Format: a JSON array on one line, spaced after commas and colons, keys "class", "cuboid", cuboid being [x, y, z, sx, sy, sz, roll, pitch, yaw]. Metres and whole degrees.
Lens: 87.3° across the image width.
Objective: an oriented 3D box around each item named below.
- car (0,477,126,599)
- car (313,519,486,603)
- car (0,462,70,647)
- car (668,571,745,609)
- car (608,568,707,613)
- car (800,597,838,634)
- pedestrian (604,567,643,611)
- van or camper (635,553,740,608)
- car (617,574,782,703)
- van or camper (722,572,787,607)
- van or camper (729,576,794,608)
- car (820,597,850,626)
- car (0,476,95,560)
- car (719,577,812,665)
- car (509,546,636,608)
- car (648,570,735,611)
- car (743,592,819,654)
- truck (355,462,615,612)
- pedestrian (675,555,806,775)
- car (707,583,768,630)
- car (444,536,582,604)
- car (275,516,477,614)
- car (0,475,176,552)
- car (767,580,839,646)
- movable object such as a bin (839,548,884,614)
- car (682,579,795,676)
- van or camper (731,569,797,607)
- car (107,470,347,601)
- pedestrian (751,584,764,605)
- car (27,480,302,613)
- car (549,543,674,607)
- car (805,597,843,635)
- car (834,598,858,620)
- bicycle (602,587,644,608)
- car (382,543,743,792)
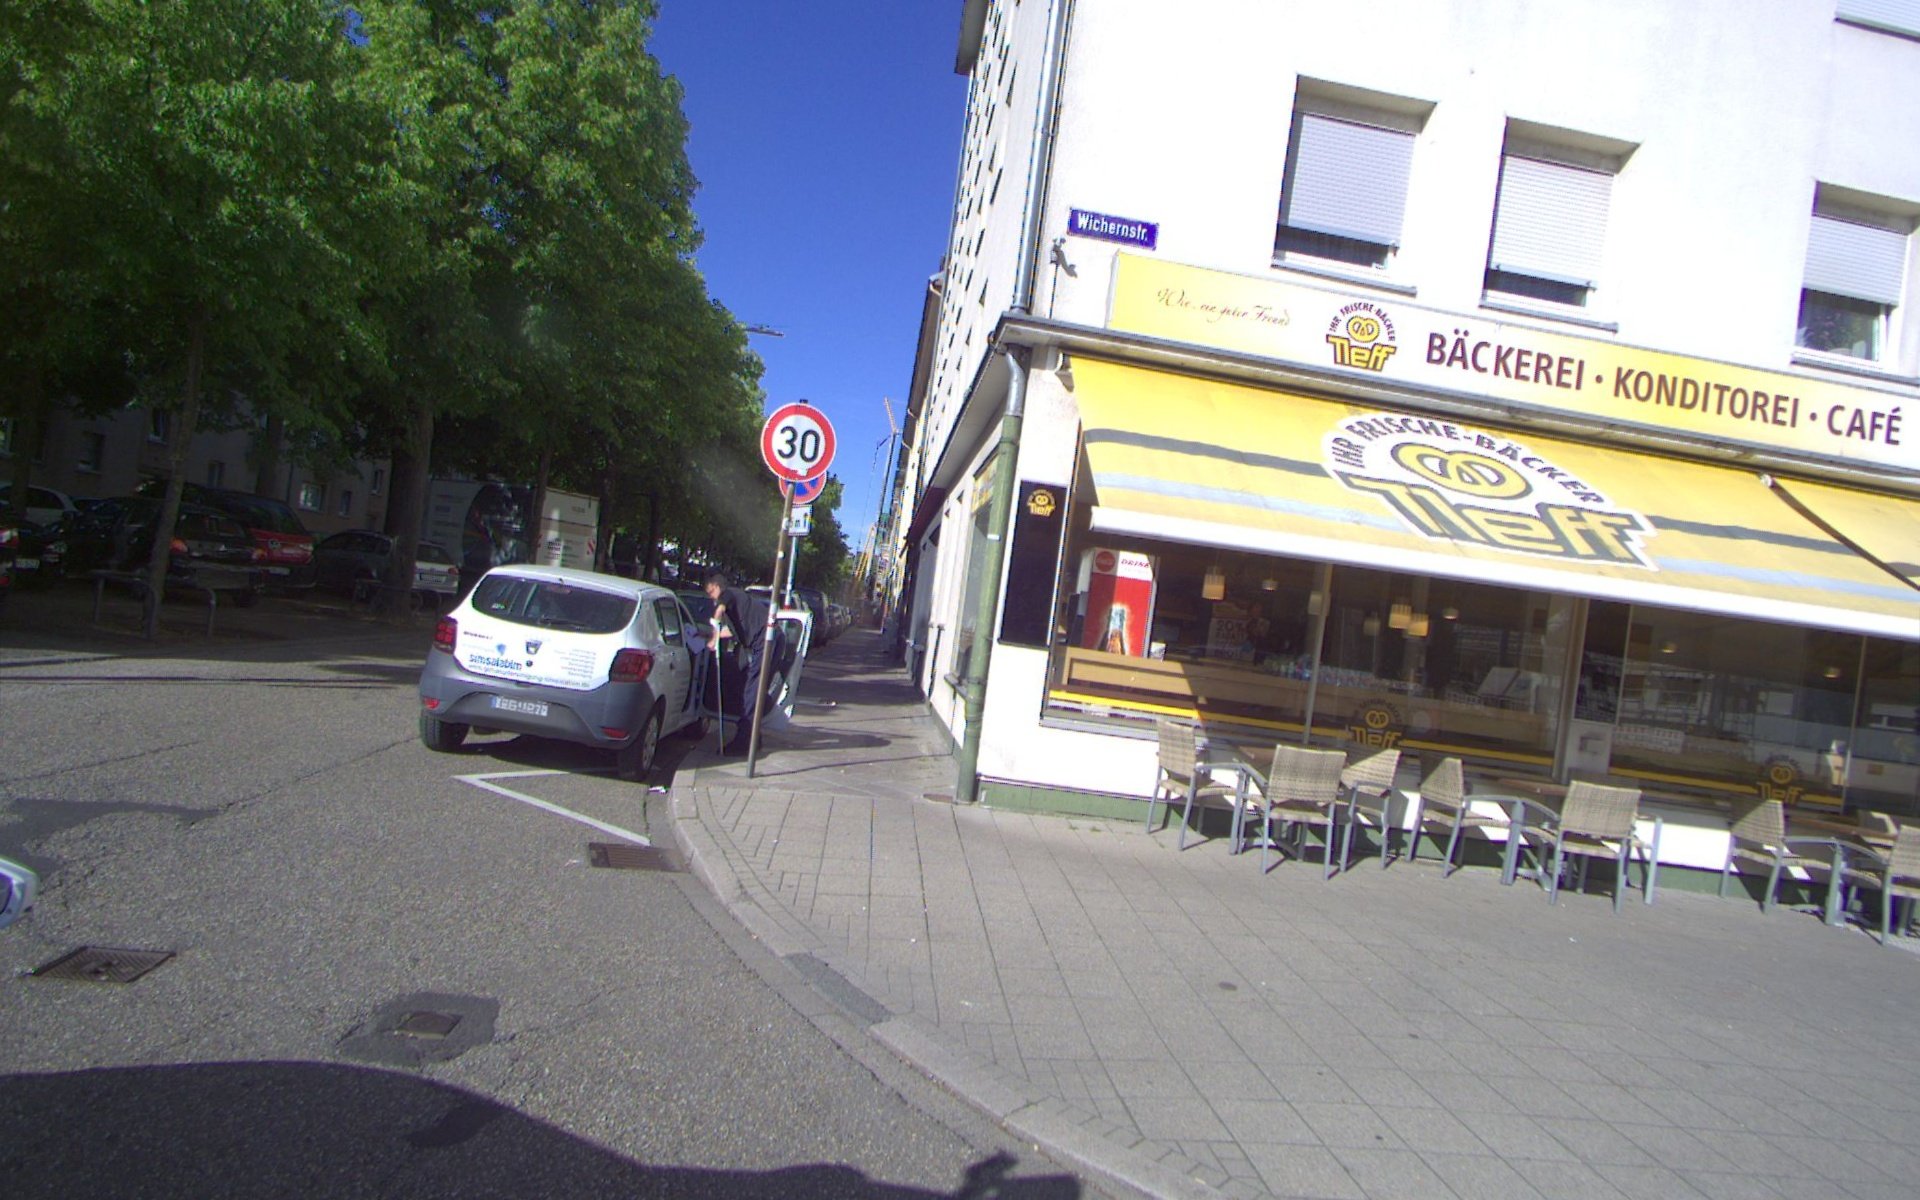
[{"class": "car", "cuboid": [-13.694, -1.042, 13.644, 3.875, 1.439, 1.822, 8, 0, 19]}, {"class": "car", "cuboid": [-14.540, -1.026, 26.038, 4.269, 1.525, 1.812, 8, 0, 29]}, {"class": "car", "cuboid": [-11.105, -0.784, 9.903, 4.259, 1.691, 1.837, 10, 1, 25]}, {"class": "car", "cuboid": [-15.226, -0.601, 60.377, 4.072, 1.699, 1.759, 8, 0, 24]}, {"class": "car", "cuboid": [-14.515, -0.472, 48.226, 4.411, 1.473, 1.786, 8, -1, 27]}, {"class": "car", "cuboid": [-6.533, 0.674, 46.545, 1.528, 1.410, 3.855, 8, -1, -9]}, {"class": "pedestrian", "cuboid": [-12.167, -0.386, 36.367, 0.740, 1.413, 0.928, 8, 0, 26]}, {"class": "van or camper", "cuboid": [-19.828, -1.418, 73.098, 7.116, 2.965, 2.314, 8, 0, 22]}, {"class": "car", "cuboid": [-3.755, 0.521, 15.084, 1.573, 1.480, 3.670, 8, -1, -4]}, {"class": "van or camper", "cuboid": [-20.127, -1.051, 98.688, 5.781, 2.669, 2.254, 8, 0, 25]}, {"class": "van or camper", "cuboid": [-18.649, -0.751, 94.561, 5.413, 2.303, 2.221, 8, 0, 19]}, {"class": "car", "cuboid": [-8.034, 0.731, 64.739, 1.698, 1.546, 4.153, 8, -1, -7]}, {"class": "car", "cuboid": [-19.075, -1.703, 19.439, 1.731, 1.504, 3.940, 8, -1, -11]}, {"class": "car", "cuboid": [-4.742, 0.485, 25.077, 1.737, 1.774, 4.505, 8, -1, -7]}, {"class": "car", "cuboid": [-13.547, -0.817, 35.105, 4.035, 1.524, 1.732, 8, -1, 27]}, {"class": "car", "cuboid": [-14.399, -0.511, 53.932, 4.346, 1.478, 1.716, 8, -1, 28]}, {"class": "car", "cuboid": [-5.357, 0.653, 30.533, 1.737, 1.518, 4.234, 8, -1, -5]}, {"class": "truck", "cuboid": [-13.633, -1.827, 28.733, 7.196, 3.334, 2.545, 7, 0, 27]}, {"class": "pedestrian", "cuboid": [-1.881, 0.547, 8.744, 0.747, 1.743, 0.745, 8, 0, 1]}, {"class": "car", "cuboid": [-8.638, 0.242, 39.280, 1.771, 1.522, 3.582, 8, -1, -6]}, {"class": "car", "cuboid": [-14.372, -0.969, 32.322, 3.929, 1.520, 1.848, 8, -1, 27]}, {"class": "car", "cuboid": [-12.929, -0.793, 22.229, 4.269, 1.525, 1.812, 8, 0, 29]}, {"class": "car", "cuboid": [-23.022, -2.229, 26.289, 1.738, 1.452, 4.341, 8, -1, -4]}, {"class": "car", "cuboid": [-5.498, 0.434, 35.763, 1.921, 1.923, 4.842, 8, -1, -5]}, {"class": "movable object such as a bin", "cuboid": [-11.111, -2.176, 113.259, 3.429, 6.840, 2.366, 8, 0, 27]}, {"class": "car", "cuboid": [-4.266, 0.471, 20.009, 1.778, 1.480, 4.433, 8, -1, -9]}, {"class": "van or camper", "cuboid": [-21.754, -1.325, 111.687, 6.557, 3.280, 2.494, 8, 0, 24]}, {"class": "car", "cuboid": [-14.258, -1.266, 19.534, 4.425, 1.896, 1.934, 8, 0, 29]}, {"class": "pedestrian", "cuboid": [-14.965, -0.394, 74.462, 0.605, 1.473, 0.520, 8, 0, 18]}, {"class": "car", "cuboid": [-12.560, -0.840, 15.892, 3.754, 1.498, 1.761, 8, 0, 24]}, {"class": "car", "cuboid": [-14.492, -1.031, 41.858, 4.440, 1.887, 2.082, 8, -1, 20]}, {"class": "car", "cuboid": [-7.084, 0.805, 52.458, 1.698, 1.706, 4.153, 8, -1, -7]}, {"class": "car", "cuboid": [-10.198, 0.822, 90.365, 1.790, 1.694, 4.670, 8, -1, -5]}, {"class": "bicycle", "cuboid": [-12.387, -0.091, 36.951, 1.585, 0.565, 0.409, 8, 0, 26]}, {"class": "car", "cuboid": [-3.185, 0.488, 9.001, 1.694, 1.515, 4.020, 8, -1, -4]}]
